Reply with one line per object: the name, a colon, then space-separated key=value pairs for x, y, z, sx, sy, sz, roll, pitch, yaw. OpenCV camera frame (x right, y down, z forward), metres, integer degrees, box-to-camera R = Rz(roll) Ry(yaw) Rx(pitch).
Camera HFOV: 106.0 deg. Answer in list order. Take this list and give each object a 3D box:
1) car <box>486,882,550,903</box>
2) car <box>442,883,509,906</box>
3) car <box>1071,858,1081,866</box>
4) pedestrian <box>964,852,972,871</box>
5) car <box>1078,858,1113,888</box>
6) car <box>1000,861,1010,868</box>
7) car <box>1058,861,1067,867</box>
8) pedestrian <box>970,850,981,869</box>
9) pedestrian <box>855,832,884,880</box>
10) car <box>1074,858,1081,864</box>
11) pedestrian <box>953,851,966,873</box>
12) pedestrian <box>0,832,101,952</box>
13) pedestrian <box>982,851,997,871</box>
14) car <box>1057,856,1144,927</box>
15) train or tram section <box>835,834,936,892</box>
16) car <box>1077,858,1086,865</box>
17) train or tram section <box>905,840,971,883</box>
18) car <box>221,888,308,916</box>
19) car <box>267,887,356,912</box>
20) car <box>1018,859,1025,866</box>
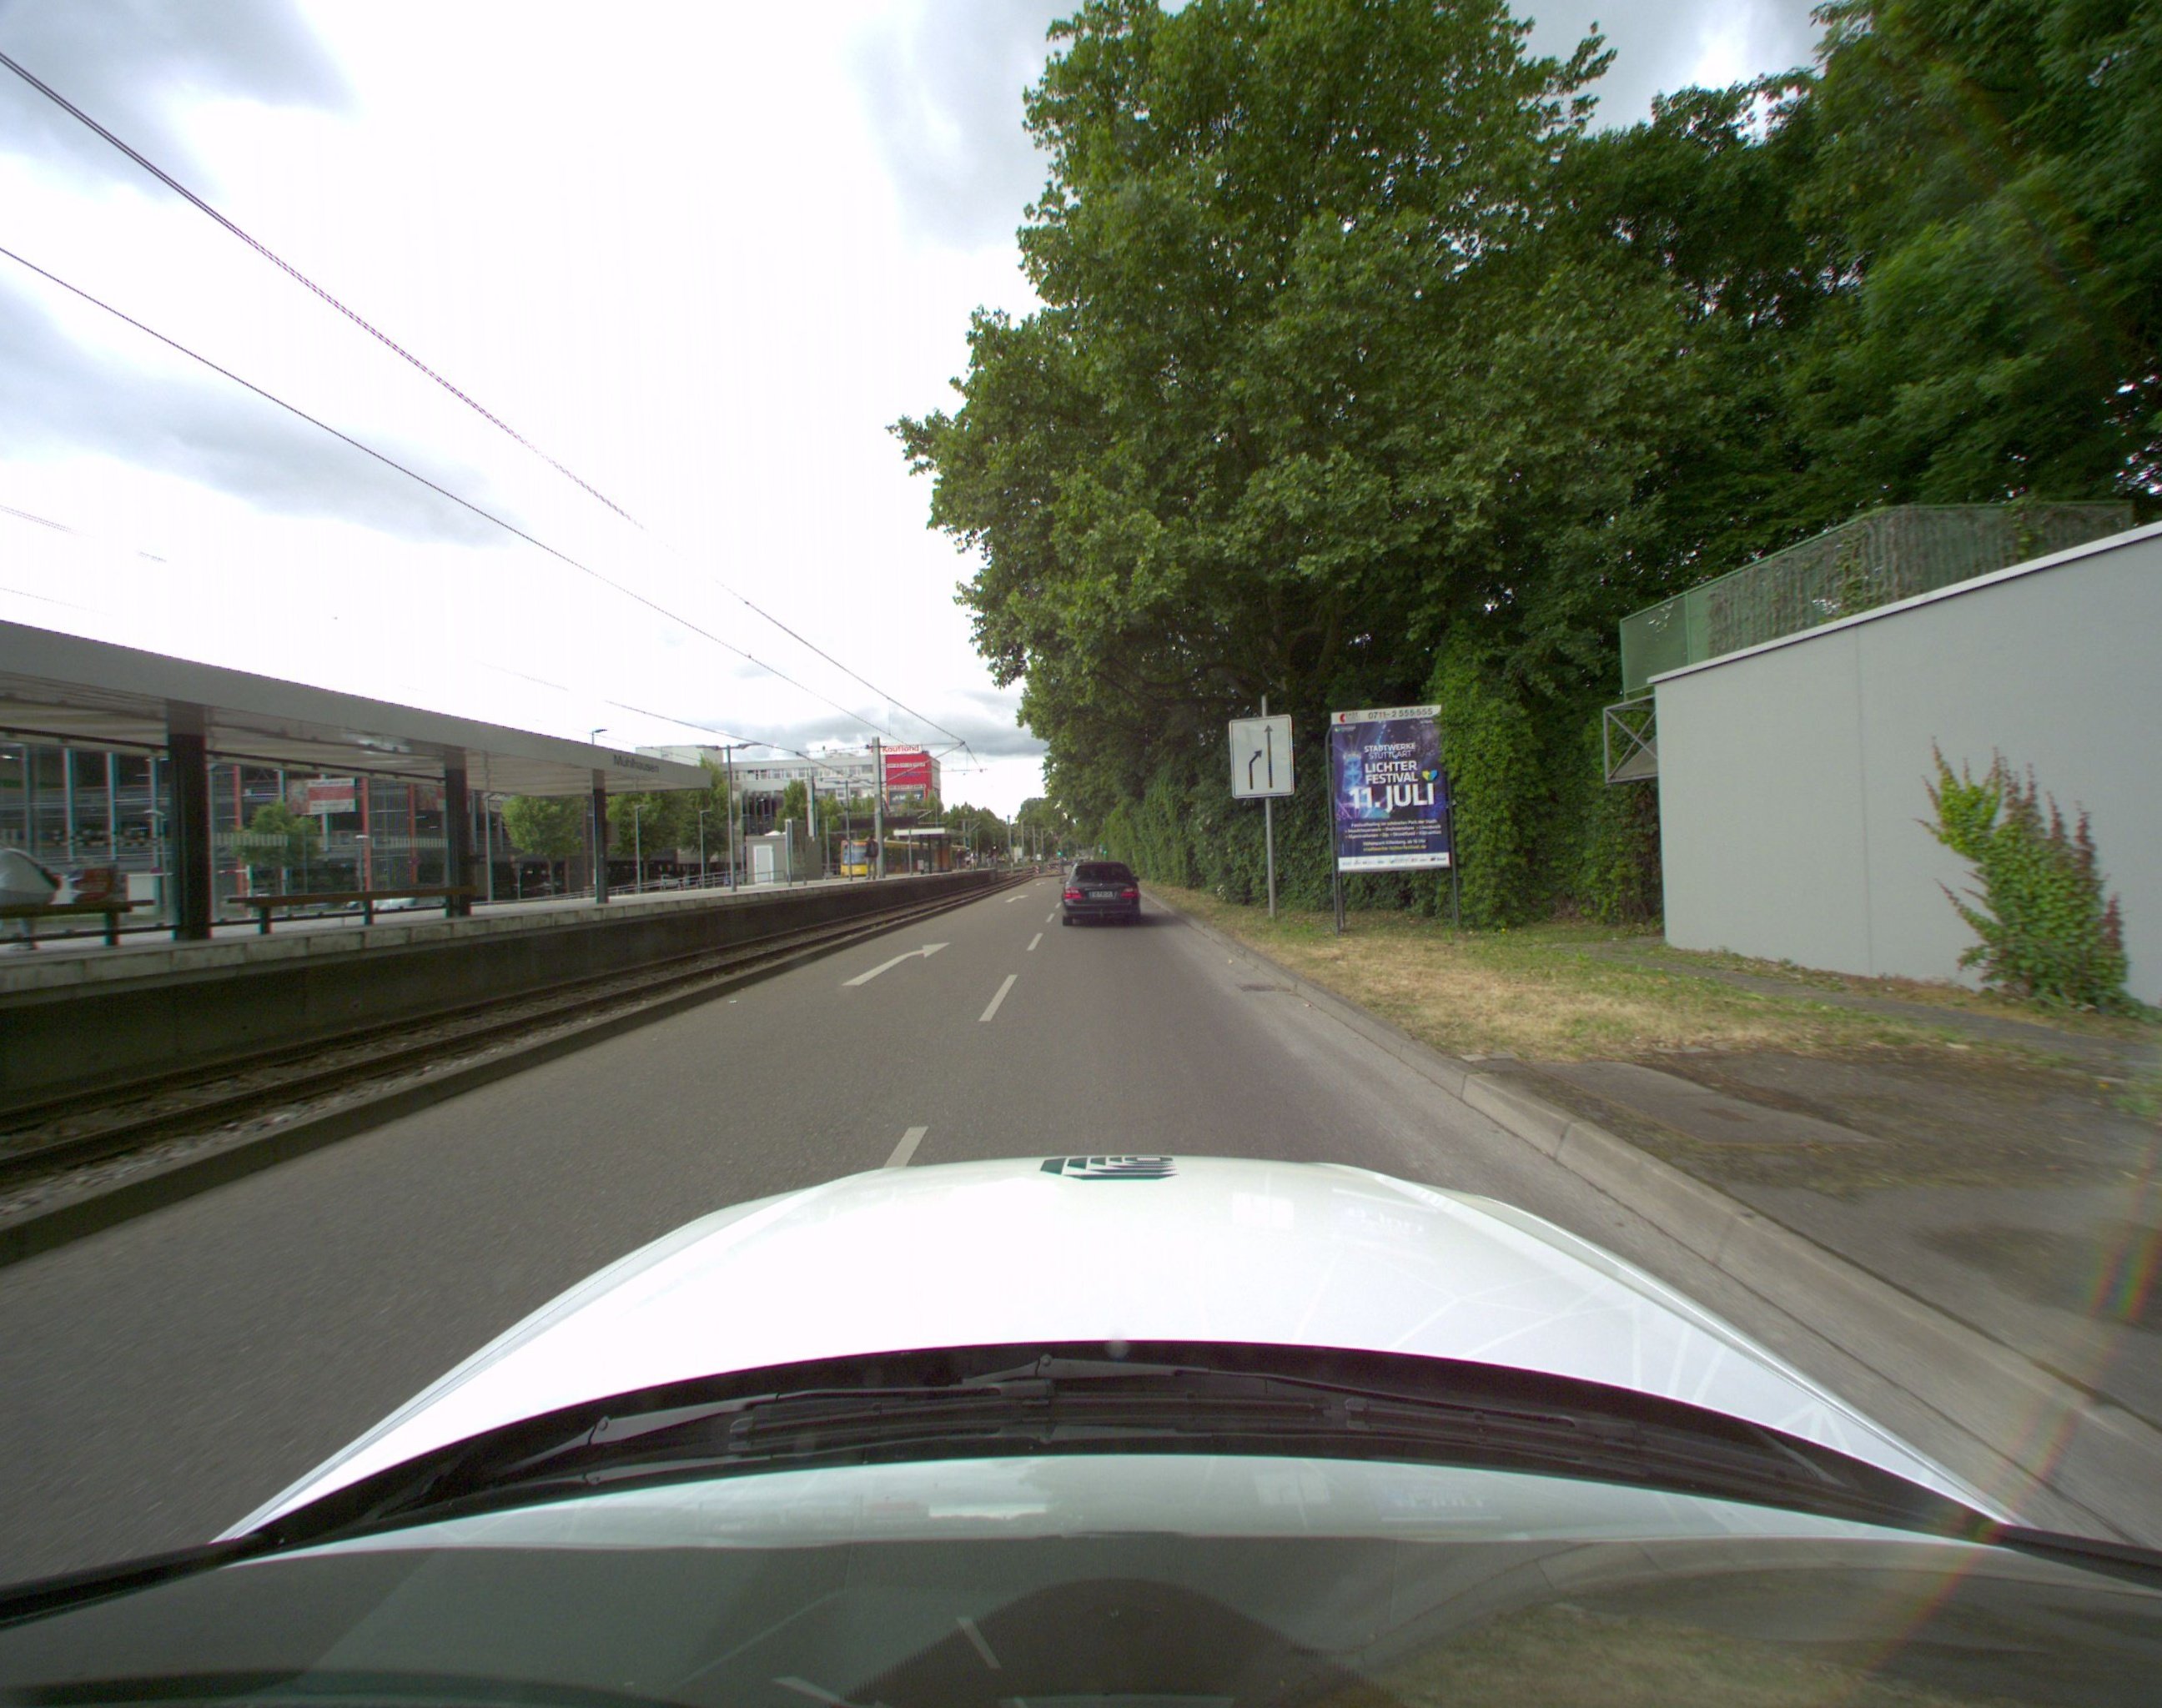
car: x=-43.162 y=2.942 z=62.504 sx=1.986 sy=1.310 sz=4.001 roll=-4 pitch=-1 yaw=1
car: x=-46.270 y=3.043 z=62.371 sx=1.986 sy=1.473 sz=4.001 roll=-4 pitch=-1 yaw=1
car: x=-0.938 y=1.529 z=155.790 sx=1.818 sy=1.530 sz=4.418 roll=-2 pitch=0 yaw=2
pedestrian: x=-9.049 y=0.623 z=65.187 sx=0.474 sy=1.483 sz=0.542 roll=-4 pitch=-1 yaw=-3
car: x=0.750 y=1.014 z=45.605 sx=1.819 sy=1.530 sz=4.414 roll=-1 pitch=0 yaw=0
car: x=-20.663 y=2.814 z=221.913 sx=1.984 sy=1.743 sz=4.993 roll=-3 pitch=-1 yaw=4
car: x=-4.445 y=2.430 z=197.877 sx=1.818 sy=1.530 sz=3.929 roll=-1 pitch=0 yaw=2
pedestrian: x=-8.306 y=0.432 z=64.320 sx=0.514 sy=1.482 sz=0.585 roll=-5 pitch=-1 yaw=38
pedestrian: x=-8.032 y=0.095 z=30.938 sx=0.746 sy=1.744 sz=0.937 roll=-4 pitch=-1 yaw=0
car: x=-1.141 y=2.058 z=242.125 sx=1.818 sy=1.530 sz=3.988 roll=-1 pitch=0 yaw=2
pedestrian: x=-9.699 y=0.615 z=64.916 sx=0.769 sy=1.678 sz=0.790 roll=-4 pitch=-1 yaw=0
pedestrian: x=-11.061 y=0.395 z=8.496 sx=0.766 sy=1.189 sz=0.729 roll=-3 pitch=-1 yaw=4
pedestrian: x=-7.954 y=0.582 z=70.798 sx=0.736 sy=1.678 sz=0.881 roll=-5 pitch=-1 yaw=44
car: x=0.457 y=0.825 z=19.742 sx=1.827 sy=1.478 sz=4.416 roll=-1 pitch=-1 yaw=1
train or tram section: x=-15.285 y=0.695 z=66.087 sx=2.745 sy=3.882 sz=18.641 roll=-3 pitch=0 yaw=2
car: x=0.138 y=1.637 z=179.476 sx=1.818 sy=1.530 sz=3.929 roll=-1 pitch=0 yaw=2
train or tram section: x=-14.539 y=0.864 z=84.754 sx=2.746 sy=3.829 sz=18.638 roll=-3 pitch=-1 yaw=2
car: x=-50.828 y=2.966 z=50.796 sx=1.710 sy=1.415 sz=3.561 roll=-4 pitch=-1 yaw=1
car: x=-47.941 y=2.810 z=50.854 sx=1.844 sy=1.310 sz=3.801 roll=-4 pitch=-1 yaw=1
car: x=-18.451 y=2.662 z=252.847 sx=1.987 sy=2.013 sz=3.999 roll=-4 pitch=-1 yaw=0
